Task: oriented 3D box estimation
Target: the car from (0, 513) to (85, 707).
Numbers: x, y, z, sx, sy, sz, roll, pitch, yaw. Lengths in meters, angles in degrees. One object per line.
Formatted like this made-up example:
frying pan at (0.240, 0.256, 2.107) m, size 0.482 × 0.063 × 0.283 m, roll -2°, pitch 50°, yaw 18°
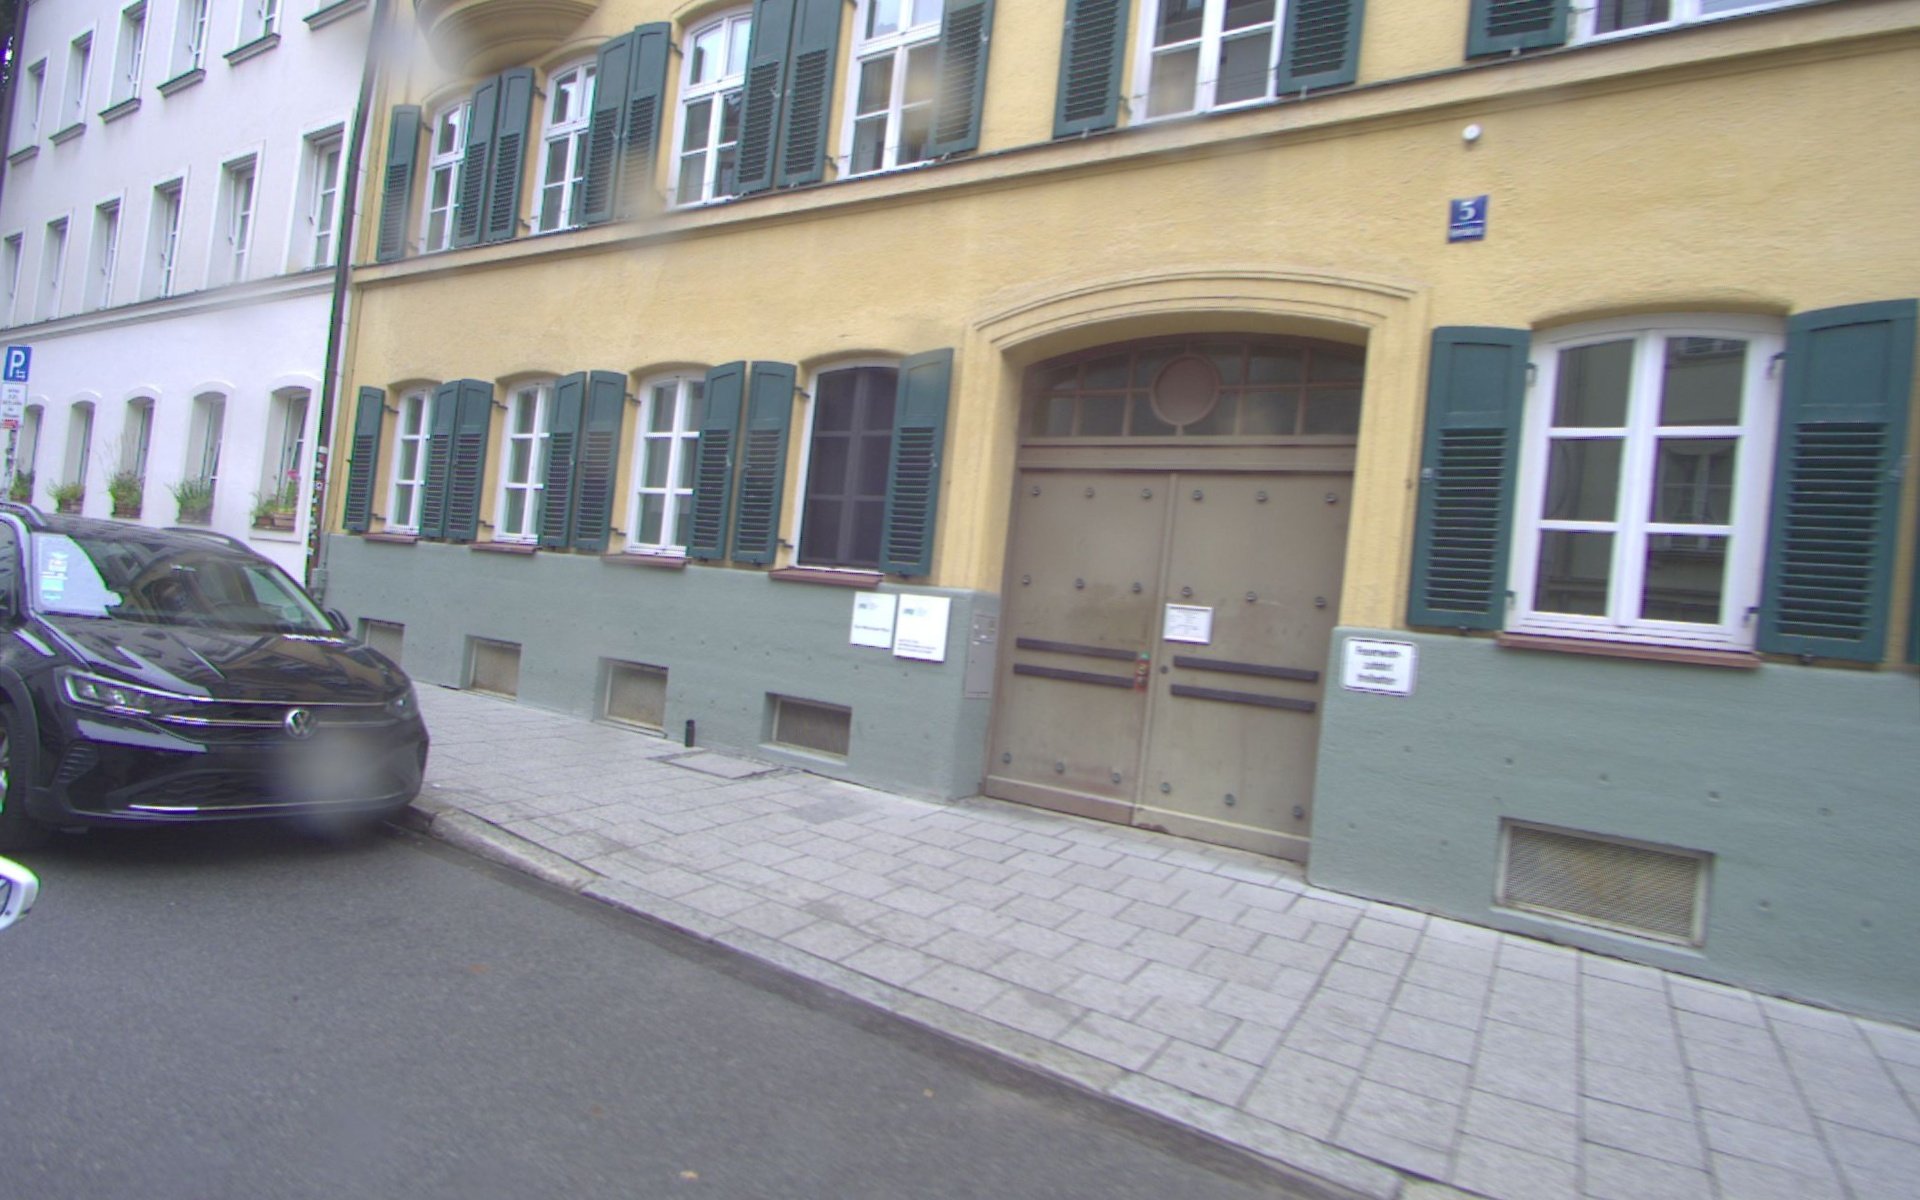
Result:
car at (-9.227, -0.142, 8.252) m, size 4.383 × 1.440 × 1.717 m, roll 5°, pitch -2°, yaw 31°

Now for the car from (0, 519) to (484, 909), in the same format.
car at (-4.751, 0.376, 5.711) m, size 3.934 × 1.481 × 1.748 m, roll 6°, pitch -2°, yaw 32°
